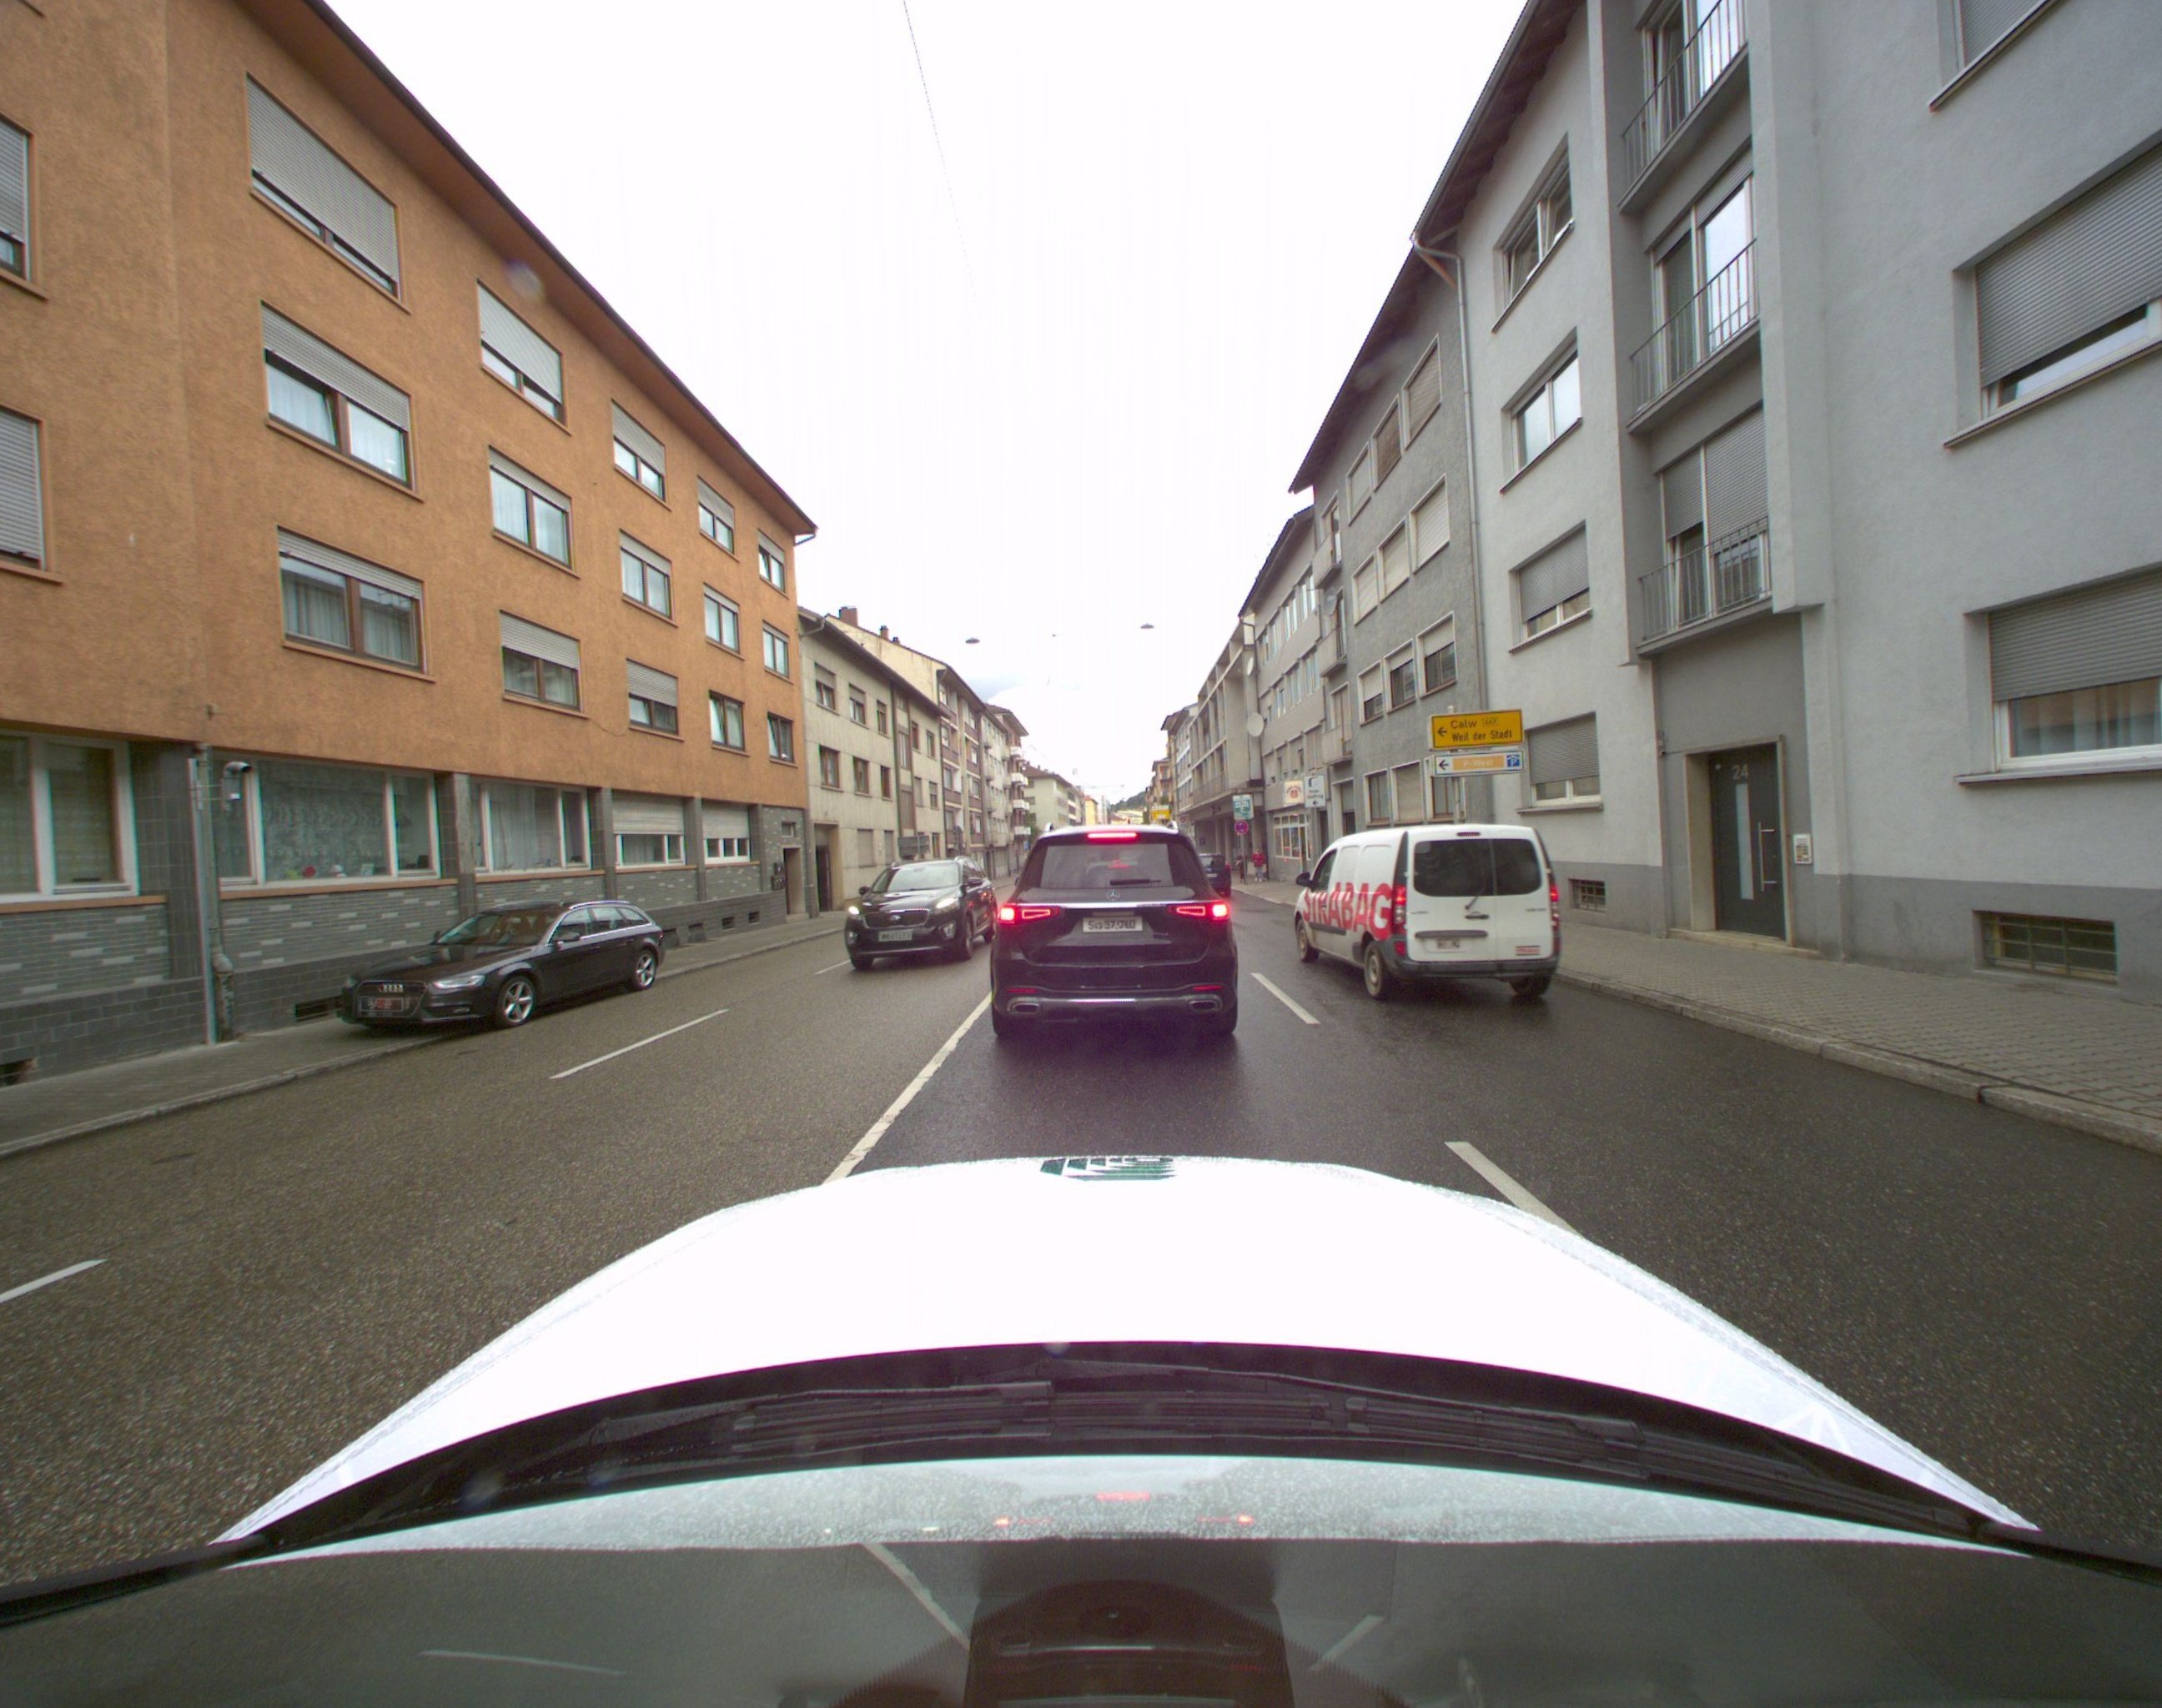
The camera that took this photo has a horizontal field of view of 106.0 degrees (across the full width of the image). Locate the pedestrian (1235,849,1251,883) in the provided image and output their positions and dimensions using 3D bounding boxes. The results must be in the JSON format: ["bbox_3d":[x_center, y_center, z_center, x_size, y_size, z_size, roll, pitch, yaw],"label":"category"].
[{"bbox_3d":[7.545,0.561,37.924,0.504,1.500,0.562,-5,0,1],"label":"pedestrian"}]

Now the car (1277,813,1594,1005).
[{"bbox_3d":[3.909,0.528,10.059,1.933,1.775,4.747,-1,0,1],"label":"car"}]

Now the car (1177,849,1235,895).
[{"bbox_3d":[4.707,0.636,31.181,1.800,1.606,4.216,-1,0,4],"label":"car"}]

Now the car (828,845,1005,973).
[{"bbox_3d":[-2.627,0.806,14.199,1.829,1.727,4.478,-5,0,3],"label":"car"}]

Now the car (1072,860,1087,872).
[{"bbox_3d":[-0.159,1.547,103.688,1.762,1.346,3.887,-6,0,-1],"label":"car"}]

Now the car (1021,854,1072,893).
[{"bbox_3d":[-1.674,0.937,41.230,2.119,1.721,4.819,-5,0,1],"label":"car"}]

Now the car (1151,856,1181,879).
[{"bbox_3d":[5.496,0.879,53.283,1.615,1.430,4.313,0,0,1],"label":"car"}]

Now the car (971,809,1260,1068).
[{"bbox_3d":[0.289,0.598,7.716,2.018,1.806,4.001,0,0,1],"label":"car"}]

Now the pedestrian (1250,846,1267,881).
[{"bbox_3d":[8.252,0.458,37.937,0.557,1.578,0.527,-5,0,4],"label":"pedestrian"}]

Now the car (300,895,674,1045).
[{"bbox_3d":[-7.738,1.400,11.318,1.789,1.438,4.528,0,0,1],"label":"car"}]
